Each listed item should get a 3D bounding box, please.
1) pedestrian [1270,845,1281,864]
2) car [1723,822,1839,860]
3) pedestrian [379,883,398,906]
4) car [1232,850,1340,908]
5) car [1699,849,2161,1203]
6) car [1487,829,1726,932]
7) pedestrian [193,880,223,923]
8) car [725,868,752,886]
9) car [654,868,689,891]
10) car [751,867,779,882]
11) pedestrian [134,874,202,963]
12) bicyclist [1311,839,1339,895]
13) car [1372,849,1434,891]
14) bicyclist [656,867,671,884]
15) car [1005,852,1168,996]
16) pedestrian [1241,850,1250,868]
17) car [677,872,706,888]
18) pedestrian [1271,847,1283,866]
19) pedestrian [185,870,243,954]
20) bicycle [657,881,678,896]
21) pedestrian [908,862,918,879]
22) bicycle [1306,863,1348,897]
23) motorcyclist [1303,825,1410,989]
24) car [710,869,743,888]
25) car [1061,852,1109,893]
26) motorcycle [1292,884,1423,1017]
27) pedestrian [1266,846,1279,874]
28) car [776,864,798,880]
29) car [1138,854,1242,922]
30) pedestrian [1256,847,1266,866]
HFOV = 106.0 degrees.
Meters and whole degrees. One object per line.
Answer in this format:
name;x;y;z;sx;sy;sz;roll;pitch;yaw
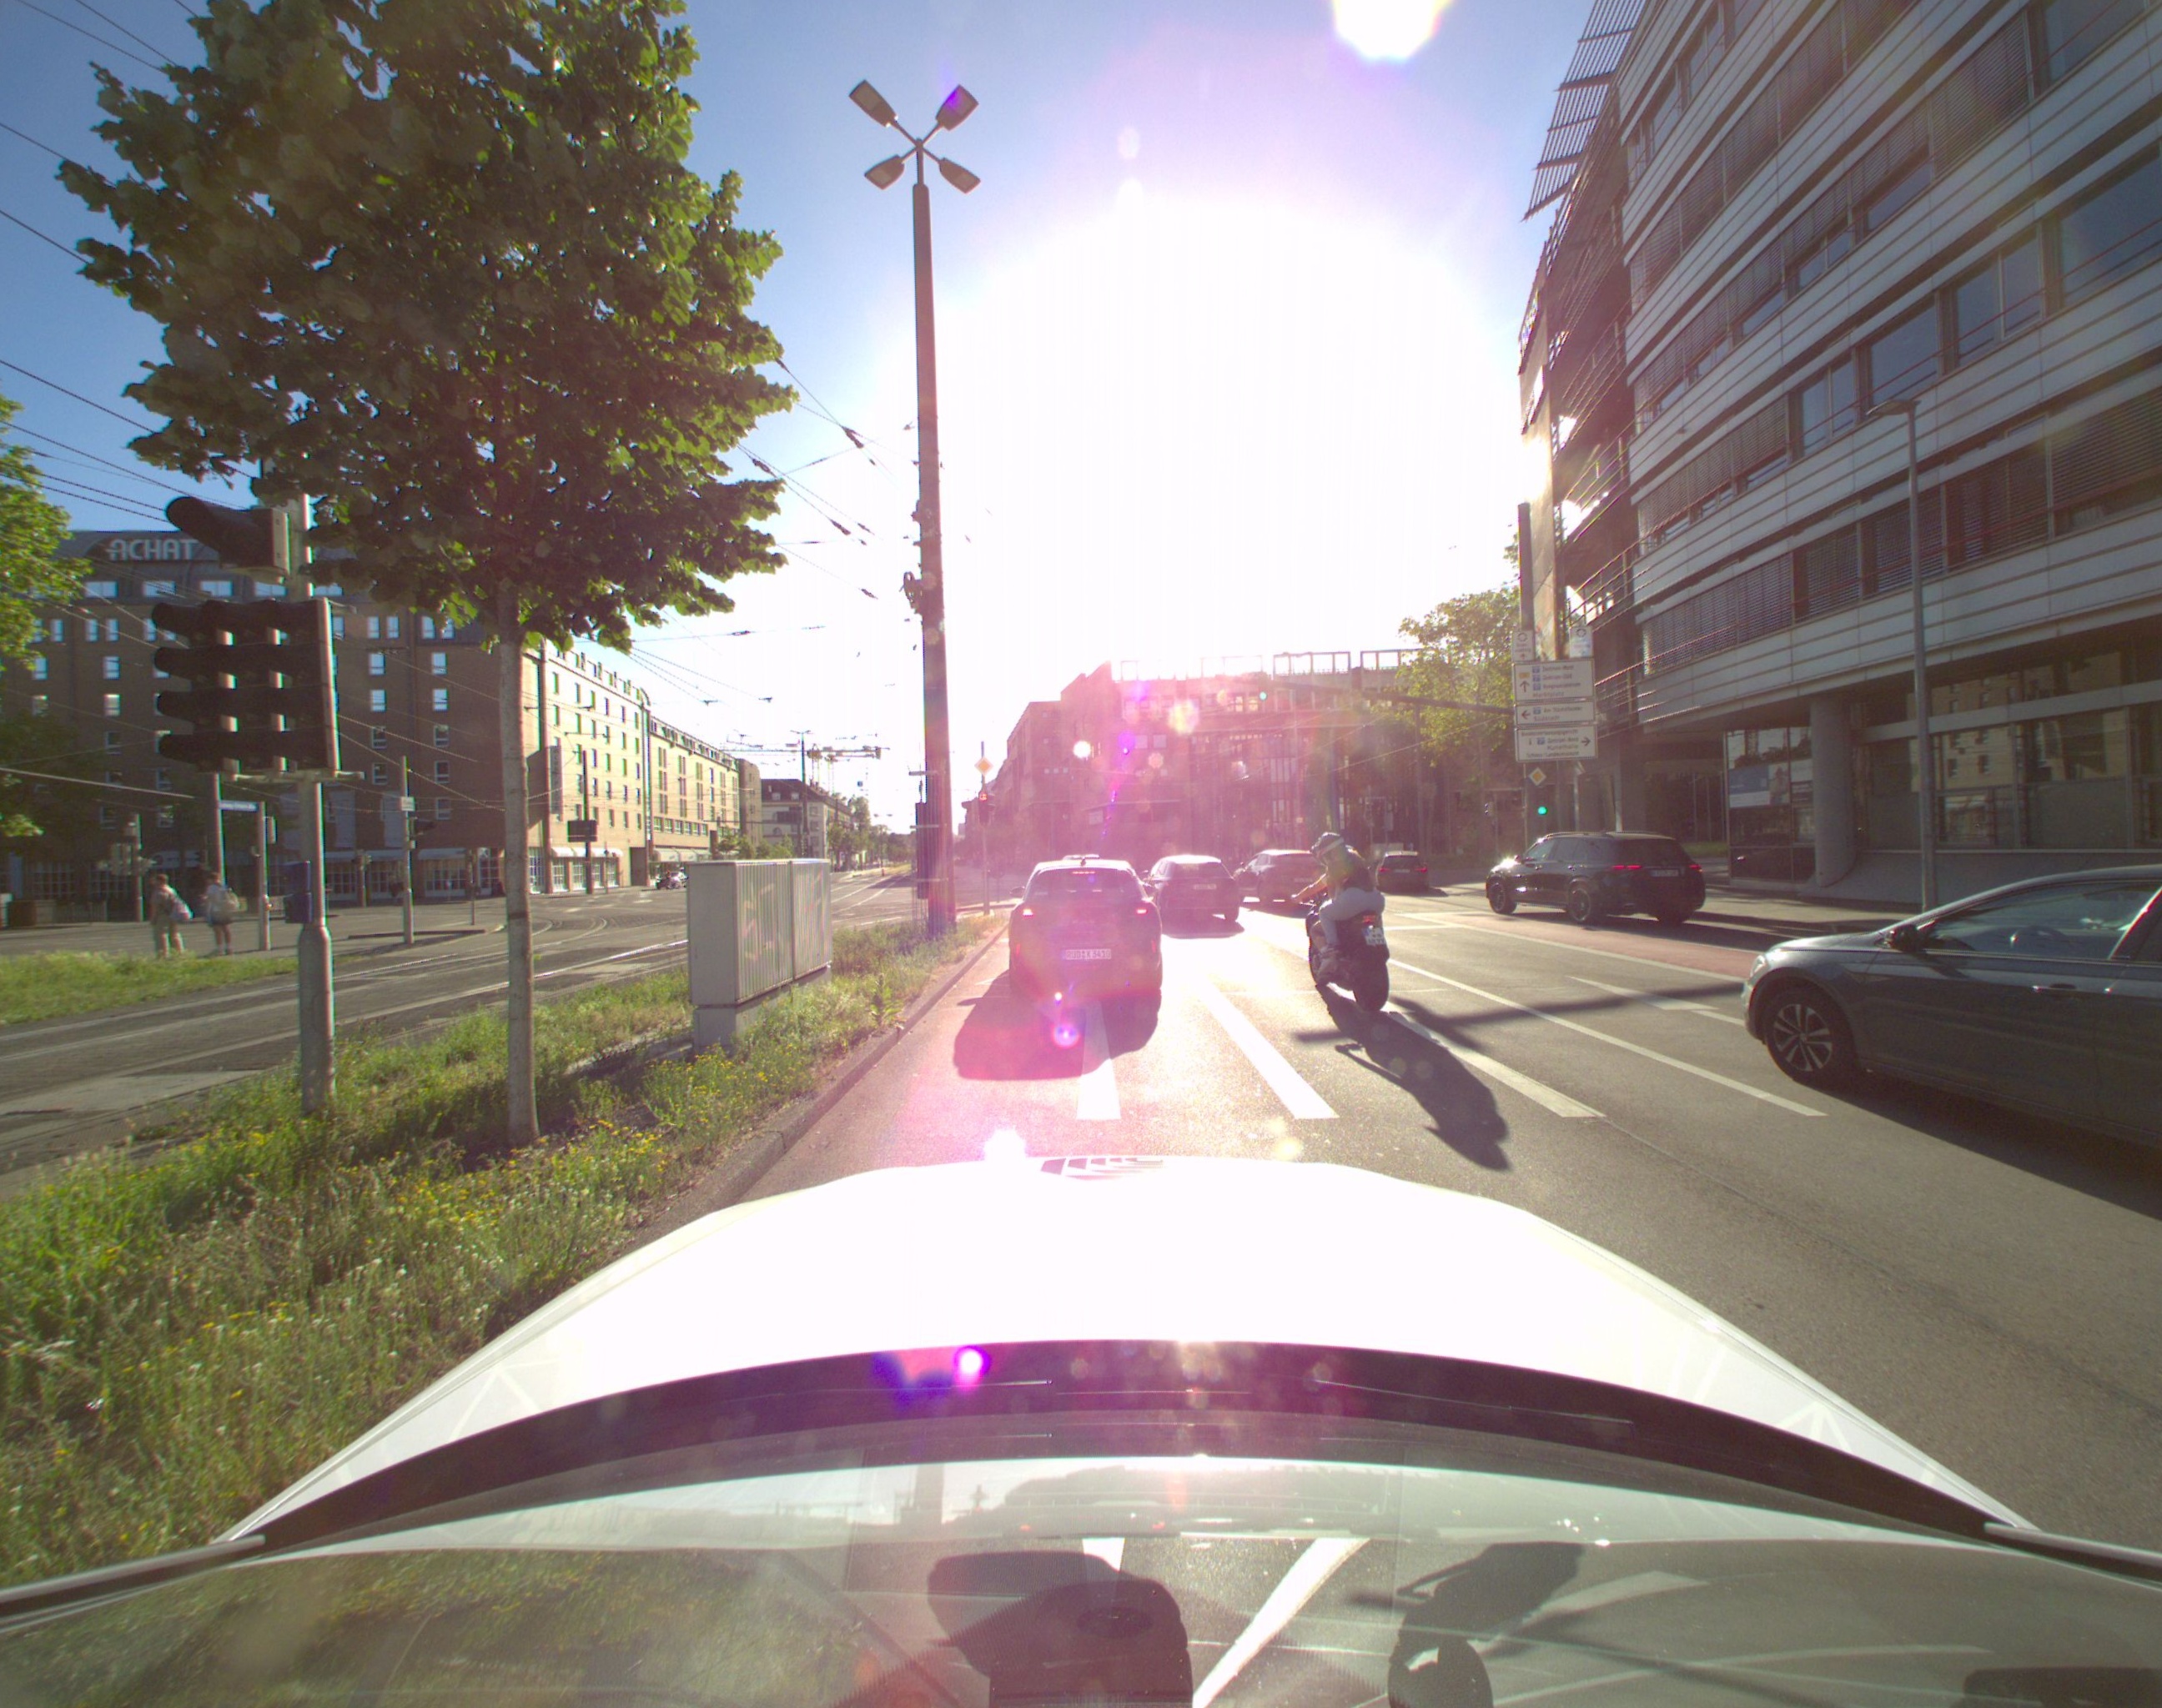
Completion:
pedestrian;17.159;0.020;71.868;0.895;1.617;0.562;-2;0;9
car;32.108;-0.581;37.395;3.983;1.651;1.861;-1;0;-7
pedestrian;-46.835;2.705;55.113;0.674;1.503;0.658;-2;0;-2
car;5.679;0.640;23.070;1.804;1.457;3.994;-1;0;-4
car;5.408;0.714;3.962;1.801;1.457;4.000;-1;0;0
car;10.403;0.469;16.605;1.988;1.750;4.327;-2;0;-1
pedestrian;-42.202;2.306;39.361;0.663;2.013;0.678;-2;0;1
car;-30.535;2.023;72.660;1.749;1.505;3.859;-2;0;-16
car;-39.800;2.452;79.218;1.995;2.013;3.983;-2;0;-12
car;-33.025;2.135;85.188;1.569;1.449;3.995;-2;0;-4
pedestrian;-19.461;1.361;17.371;0.630;1.830;0.661;-2;0;-6
bicyclist;8.000;0.427;26.718;0.576;1.791;0.863;-2;0;-3
car;12.065;0.535;30.391;1.976;1.420;4.023;0;1;24
bicyclist;-35.059;1.824;68.414;0.756;1.375;0.948;-2;0;-7
car;0.128;0.725;10.413;1.643;1.433;4.002;-2;0;2
pedestrian;12.638;0.380;62.573;0.528;1.430;0.598;-2;0;0
car;-41.124;2.709;86.077;1.886;1.510;3.983;-2;0;-12
pedestrian;17.012;0.178;70.587;0.895;1.617;0.562;-2;0;9
pedestrian;-19.606;1.293;18.436;0.562;1.817;0.661;-2;0;-6
bicycle;-35.090;2.914;69.147;0.649;1.085;2.919;-2;0;-7
pedestrian;-16.949;1.673;82.097;0.770;1.640;0.737;-2;0;-33
bicycle;8.001;0.825;26.604;0.491;0.997;2.324;-2;0;-4
motorcyclist;2.751;0.500;8.230;0.741;1.530;1.022;-2;0;4
car;-34.335;2.345;78.988;1.995;1.596;4.718;-2;0;-12
car;0.117;0.794;36.328;1.735;1.651;3.992;-2;0;-5
motorcycle;2.787;0.922;8.441;0.772;1.115;1.971;-2;0;4
pedestrian;12.590;0.391;53.581;0.700;1.759;0.564;-2;0;26
car;-29.599;1.746;81.974;1.749;1.505;3.859;-2;0;-16
car;2.415;0.710;18.957;1.733;1.349;3.997;-2;0;-2
pedestrian;16.114;0.208;72.948;0.734;1.617;0.562;-2;0;9
